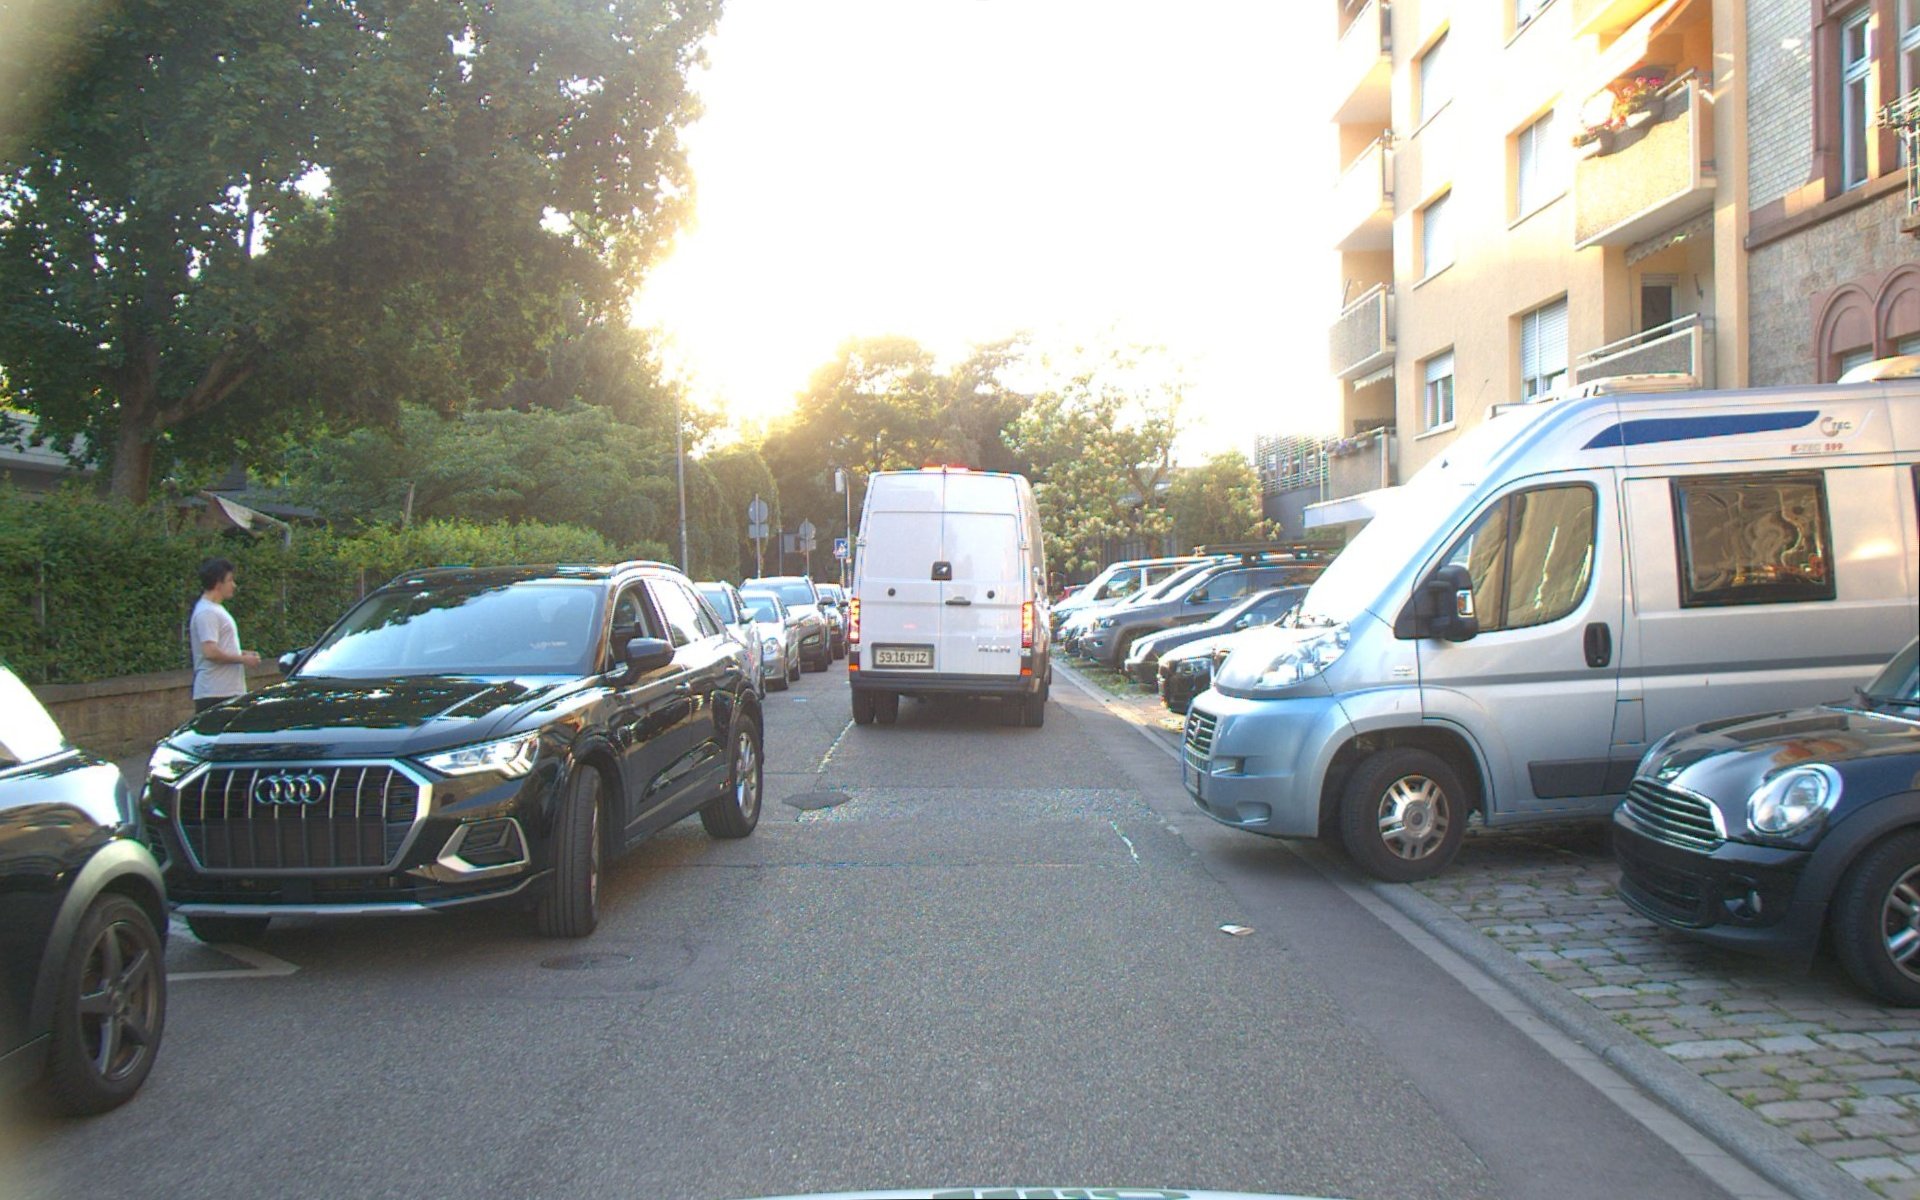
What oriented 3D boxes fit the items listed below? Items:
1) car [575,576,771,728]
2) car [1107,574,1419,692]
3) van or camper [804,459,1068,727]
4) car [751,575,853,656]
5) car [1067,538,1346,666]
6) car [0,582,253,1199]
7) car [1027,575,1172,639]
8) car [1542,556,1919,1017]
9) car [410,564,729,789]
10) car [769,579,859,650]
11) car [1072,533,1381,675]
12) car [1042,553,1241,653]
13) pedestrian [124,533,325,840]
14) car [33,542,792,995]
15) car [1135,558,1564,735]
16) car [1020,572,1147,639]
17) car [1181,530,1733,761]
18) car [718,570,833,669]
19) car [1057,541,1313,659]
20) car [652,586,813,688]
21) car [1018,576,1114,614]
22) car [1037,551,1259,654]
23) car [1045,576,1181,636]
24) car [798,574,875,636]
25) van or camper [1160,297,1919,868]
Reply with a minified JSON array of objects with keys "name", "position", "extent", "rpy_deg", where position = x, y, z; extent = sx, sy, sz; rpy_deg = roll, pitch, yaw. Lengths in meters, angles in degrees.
[{"name":"car","position":[-3.374,0.549,20.160],"extent":[1.819,1.582,4.097],"rpy_deg":[-2,1,-3]},{"name":"car","position":[4.309,0.449,23.929],"extent":[4.151,1.450,1.719],"rpy_deg":[-3,0,-1]},{"name":"van or camper","position":[-0.044,-0.106,19.234],"extent":[2.402,2.591,6.087],"rpy_deg":[1,1,5]},{"name":"car","position":[-3.338,0.291,35.688],"extent":[1.953,1.646,3.999],"rpy_deg":[0,1,-2]},{"name":"car","position":[4.276,0.021,29.252],"extent":[4.611,2.183,1.999],"rpy_deg":[0,1,-2]},{"name":"car","position":[-3.174,0.751,3.431],"extent":[1.603,1.504,3.993],"rpy_deg":[-3,1,1]},{"name":"car","position":[3.861,0.179,46.407],"extent":[3.905,1.758,2.000],"rpy_deg":[0,0,0]},{"name":"car","position":[4.538,0.544,6.439],"extent":[3.854,1.512,1.787],"rpy_deg":[-3,-1,1]},{"name":"car","position":[-3.332,0.579,14.929],"extent":[1.746,1.659,4.001],"rpy_deg":[-3,0,2]},{"name":"car","position":[-3.483,0.308,39.999],"extent":[1.953,1.646,3.999],"rpy_deg":[0,1,-2]},{"name":"car","position":[4.184,0.051,26.519],"extent":[4.611,2.183,1.999],"rpy_deg":[0,1,-2]},{"name":"car","position":[4.177,0.059,38.541],"extent":[4.404,2.269,2.032],"rpy_deg":[0,0,-1]},{"name":"pedestrian","position":[-4.615,0.520,10.435],"extent":[0.919,1.862,0.786],"rpy_deg":[0,0,-2]},{"name":"car","position":[-2.216,0.591,8.200],"extent":[1.766,1.596,4.569],"rpy_deg":[-1,0,7]},{"name":"car","position":[3.957,0.442,17.200],"extent":[3.910,1.479,1.834],"rpy_deg":[-4,1,-5]},{"name":"car","position":[3.834,0.155,51.871],"extent":[3.904,2.049,2.000],"rpy_deg":[0,0,1]},{"name":"car","position":[4.334,0.355,14.765],"extent":[4.350,1.758,1.770],"rpy_deg":[-2,1,-7]},{"name":"car","position":[-3.325,0.309,30.480],"extent":[1.954,1.691,3.996],"rpy_deg":[0,1,-5]},{"name":"car","position":[4.242,-0.008,31.678],"extent":[4.611,2.183,1.999],"rpy_deg":[0,1,-2]},{"name":"car","position":[-3.379,0.500,25.259],"extent":[1.953,1.422,3.999],"rpy_deg":[0,1,-1]},{"name":"car","position":[4.576,-0.219,71.727],"extent":[3.908,1.646,1.998],"rpy_deg":[0,1,-4]},{"name":"car","position":[4.076,0.035,36.355],"extent":[4.611,2.183,1.999],"rpy_deg":[0,1,-2]},{"name":"car","position":[4.539,0.156,49.452],"extent":[3.905,1.758,2.000],"rpy_deg":[0,0,0]},{"name":"car","position":[-3.366,0.111,45.718],"extent":[1.953,1.646,3.999],"rpy_deg":[0,1,-2]},{"name":"van or camper","position":[4.171,-0.093,9.304],"extent":[5.808,2.818,2.109],"rpy_deg":[0,0,-2]}]
